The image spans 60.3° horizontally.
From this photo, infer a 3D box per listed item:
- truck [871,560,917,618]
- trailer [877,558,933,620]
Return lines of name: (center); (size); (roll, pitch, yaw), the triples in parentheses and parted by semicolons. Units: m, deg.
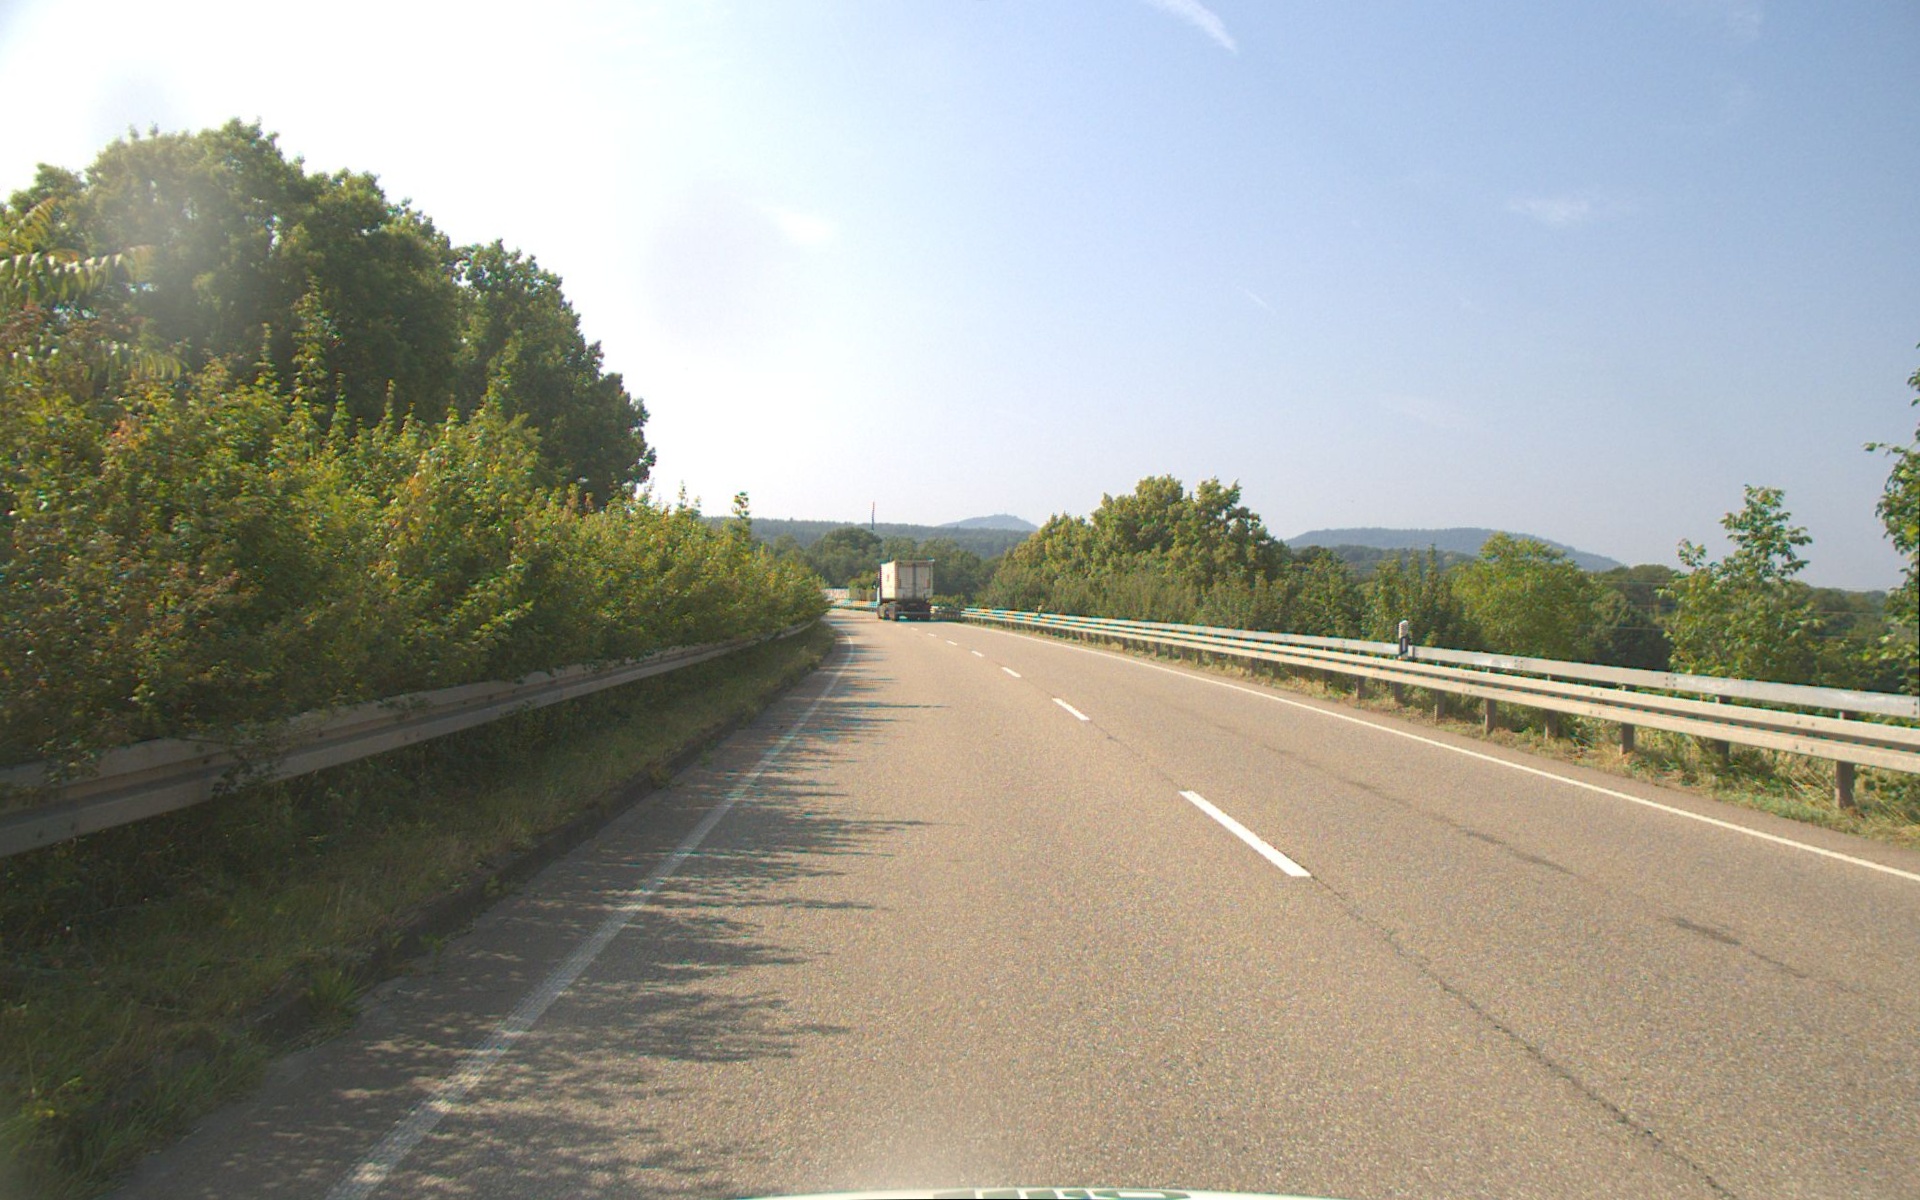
truck: (-4.705, -0.775, 116.815); (2.610, 3.964, 5.636); (0, 0, -9)
trailer: (-3.775, -0.731, 110.931); (2.630, 3.975, 9.652); (0, 0, -9)
